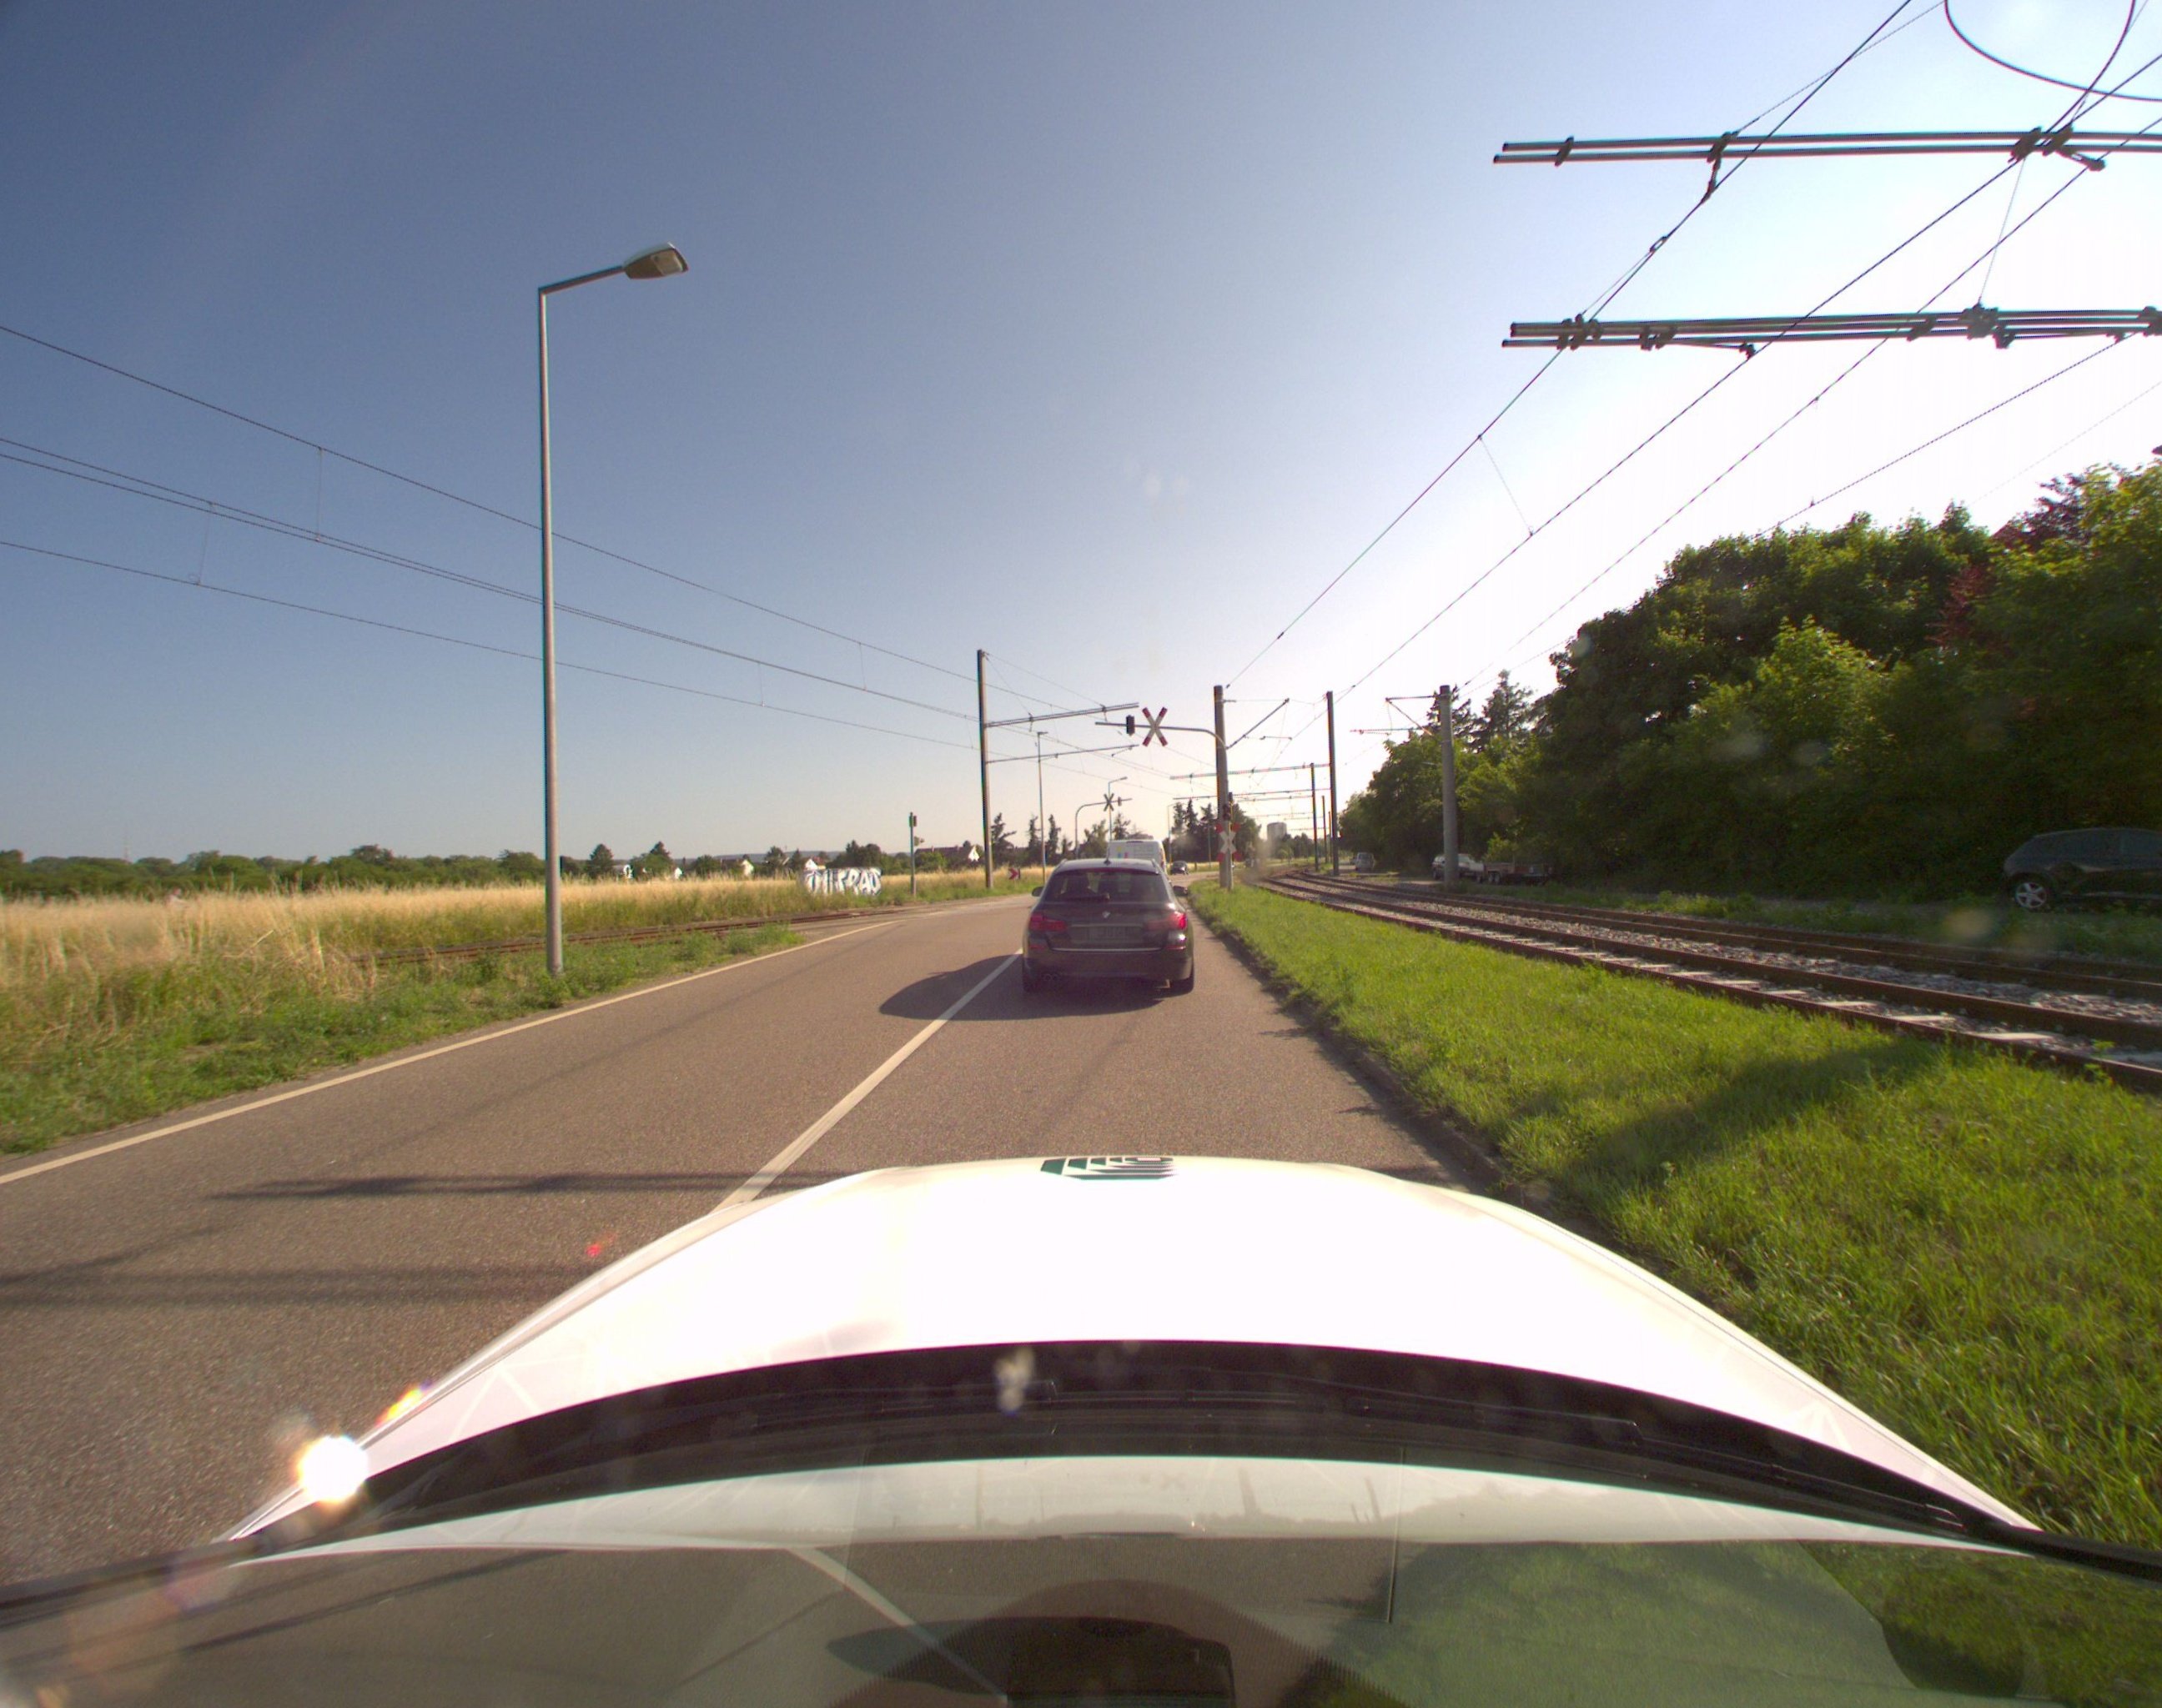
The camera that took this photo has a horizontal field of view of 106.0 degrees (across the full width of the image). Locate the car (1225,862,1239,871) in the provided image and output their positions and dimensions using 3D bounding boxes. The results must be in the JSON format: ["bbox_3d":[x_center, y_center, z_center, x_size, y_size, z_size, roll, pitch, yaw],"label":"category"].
[{"bbox_3d":[24.231,1.971,130.644,1.679,1.439,4.303,-1,0,18],"label":"car"}]

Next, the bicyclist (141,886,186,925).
[{"bbox_3d":[-29.841,1.659,26.495,0.738,1.205,0.794,-2,-1,24],"label":"bicyclist"}]

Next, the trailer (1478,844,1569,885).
[{"bbox_3d":[18.425,0.437,34.115,2.015,1.596,4.269,0,-1,8],"label":"trailer"}]

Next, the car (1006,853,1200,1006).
[{"bbox_3d":[0.311,0.734,10.305,1.861,1.452,4.746,-1,0,2],"label":"car"}]

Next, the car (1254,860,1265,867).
[{"bbox_3d":[38.208,1.999,173.967,1.698,1.549,3.948,-2,-1,20],"label":"car"}]

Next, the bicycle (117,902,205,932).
[{"bbox_3d":[-29.843,2.027,26.458,0.743,0.839,1.746,-2,-1,24],"label":"bicycle"}]

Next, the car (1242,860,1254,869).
[{"bbox_3d":[32.518,1.972,158.362,1.693,1.665,4.610,-2,-1,17],"label":"car"}]

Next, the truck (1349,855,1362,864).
[{"bbox_3d":[54.824,1.107,162.677,2.187,1.819,5.956,-2,-1,17],"label":"truck"}]

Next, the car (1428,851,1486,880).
[{"bbox_3d":[19.684,0.573,42.854,1.687,1.456,4.896,1,0,11],"label":"car"}]

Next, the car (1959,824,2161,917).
[{"bbox_3d":[17.258,0.251,13.009,1.617,1.410,4.521,-1,-1,0],"label":"car"}]

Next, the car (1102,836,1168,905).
[{"bbox_3d":[1.864,0.492,26.452,1.848,1.988,5.117,-1,0,6],"label":"car"}]

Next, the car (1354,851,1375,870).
[{"bbox_3d":[31.448,0.714,90.506,1.978,2.004,5.089,1,0,17],"label":"car"}]

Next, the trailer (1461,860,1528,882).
[{"bbox_3d":[19.256,0.791,38.088,1.721,0.939,3.737,1,0,9],"label":"trailer"}]
